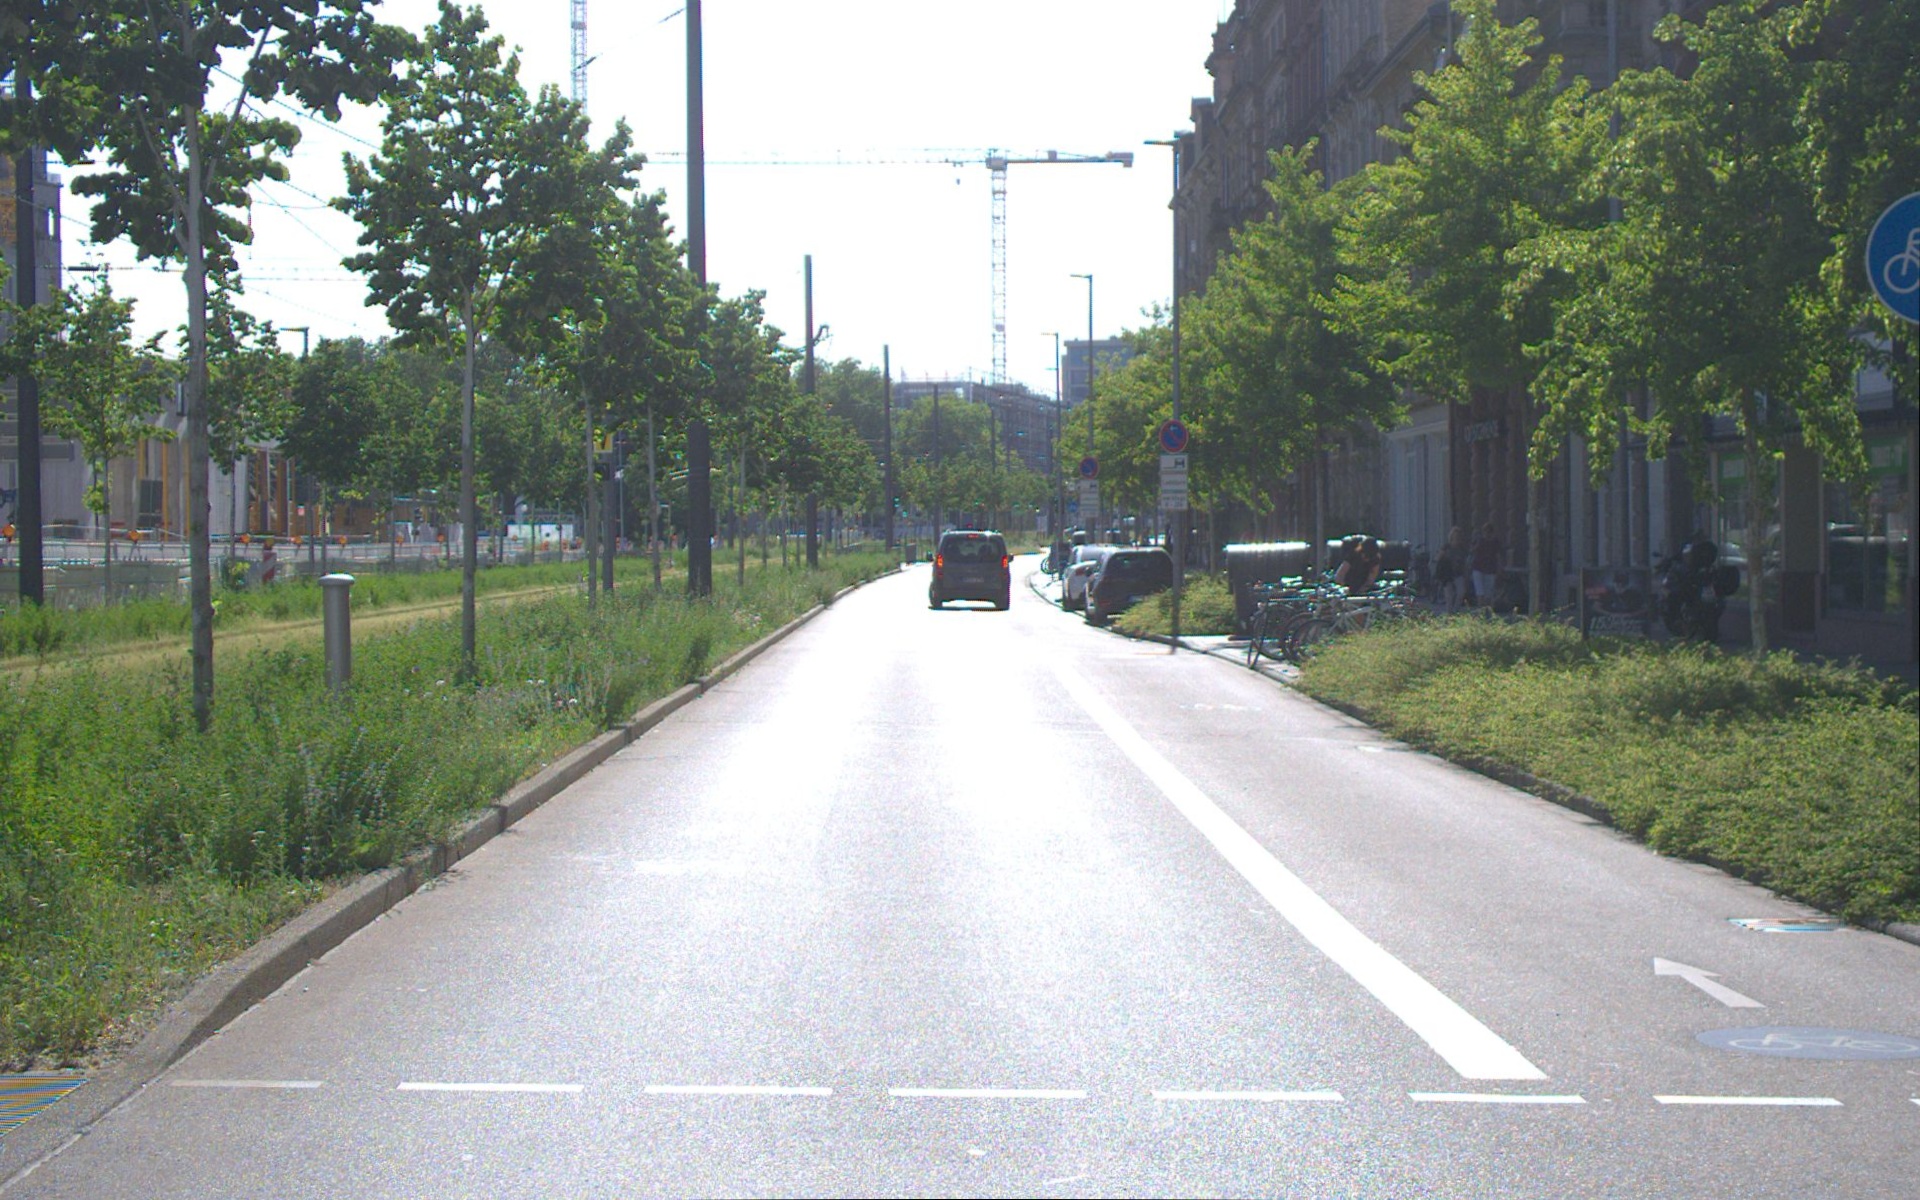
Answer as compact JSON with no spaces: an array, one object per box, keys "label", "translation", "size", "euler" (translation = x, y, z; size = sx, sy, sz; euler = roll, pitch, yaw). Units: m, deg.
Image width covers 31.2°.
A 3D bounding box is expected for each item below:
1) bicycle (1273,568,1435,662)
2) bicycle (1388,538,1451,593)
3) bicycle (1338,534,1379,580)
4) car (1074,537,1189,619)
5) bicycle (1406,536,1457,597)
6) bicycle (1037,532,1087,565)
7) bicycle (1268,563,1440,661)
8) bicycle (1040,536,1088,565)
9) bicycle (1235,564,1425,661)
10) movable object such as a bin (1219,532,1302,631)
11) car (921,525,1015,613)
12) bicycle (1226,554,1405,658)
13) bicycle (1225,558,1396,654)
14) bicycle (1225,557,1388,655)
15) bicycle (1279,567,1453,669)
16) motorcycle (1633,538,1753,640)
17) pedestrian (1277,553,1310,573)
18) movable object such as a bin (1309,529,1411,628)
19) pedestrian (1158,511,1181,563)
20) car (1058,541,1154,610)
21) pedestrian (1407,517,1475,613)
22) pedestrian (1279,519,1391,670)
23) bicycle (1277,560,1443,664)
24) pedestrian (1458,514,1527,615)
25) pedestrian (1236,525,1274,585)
[{"label":"bicycle","translation":[4.704,0.173,41.099],"size":[1.814,1.052,0.572],"euler":[-2,1,-6]},{"label":"bicycle","translation":[9.732,-0.744,72.892],"size":[0.875,1.101,2.182],"euler":[-3,1,-3]},{"label":"bicycle","translation":[9.732,-1.057,84.025],"size":[0.721,1.086,2.198],"euler":[-1,1,0]},{"label":"car","translation":[3.336,-0.442,67.566],"size":[1.765,1.472,4.449],"euler":[-3,1,-3]},{"label":"bicycle","translation":[9.575,-0.681,69.827],"size":[0.748,1.197,1.801],"euler":[-1,1,0]},{"label":"bicycle","translation":[4.079,-2.052,137.630],"size":[1.878,1.229,0.500],"euler":[-3,1,-5]},{"label":"bicycle","translation":[4.745,0.137,41.442],"size":[1.977,1.104,0.435],"euler":[-2,1,-3]},{"label":"bicycle","translation":[4.206,-2.004,139.165],"size":[1.824,1.075,0.665],"euler":[-3,1,-6]},{"label":"bicycle","translation":[4.586,0.151,42.608],"size":[2.284,1.098,0.486],"euler":[-2,1,-14]},{"label":"movable object such as a bin","translation":[4.772,-0.306,54.687],"size":[1.271,1.458,1.644],"euler":[1,3,4]},{"label":"car","translation":[0.169,-0.732,80.942],"size":[1.993,2.007,4.000],"euler":[1,1,-3]},{"label":"bicycle","translation":[4.443,0.068,42.951],"size":[2.146,1.150,0.429],"euler":[-4,1,-13]},{"label":"bicycle","translation":[4.485,0.073,44.035],"size":[2.043,1.103,0.611],"euler":[-3,1,-6]},{"label":"bicycle","translation":[4.476,0.072,44.443],"size":[1.974,1.120,0.482],"euler":[-4,2,-5]},{"label":"bicycle","translation":[4.673,0.203,39.626],"size":[1.891,1.105,0.518],"euler":[-2,1,-5]},{"label":"motorcycle","translation":[9.438,-0.152,44.378],"size":[0.866,1.262,2.982],"euler":[1,1,-1]},{"label":"pedestrian","translation":[9.777,-1.093,100.854],"size":[0.773,0.551,2.008],"euler":[-1,2,0]},{"label":"movable object such as a bin","translation":[6.368,-0.342,54.860],"size":[1.373,1.490,1.749],"euler":[-3,0,1]},{"label":"pedestrian","translation":[8.372,-2.513,137.359],"size":[0.817,2.007,1.046],"euler":[1,-1,0]},{"label":"car","translation":[3.379,-0.589,80.273],"size":[1.951,1.490,5.105],"euler":[-2,1,0]},{"label":"pedestrian","translation":[8.045,-0.590,57.482],"size":[0.950,1.561,1.080],"euler":[-1,2,-1]},{"label":"pedestrian","translation":[4.495,-0.064,41.206],"size":[0.900,1.730,0.849],"euler":[-5,1,-37]},{"label":"bicycle","translation":[4.649,0.140,39.980],"size":[1.866,1.175,0.374],"euler":[-1,0,-3]},{"label":"pedestrian","translation":[8.912,-0.605,57.583],"size":[0.971,1.633,0.992],"euler":[-1,2,0]},{"label":"pedestrian","translation":[8.517,-1.307,99.424],"size":[0.996,1.725,0.866],"euler":[1,0,0]}]
